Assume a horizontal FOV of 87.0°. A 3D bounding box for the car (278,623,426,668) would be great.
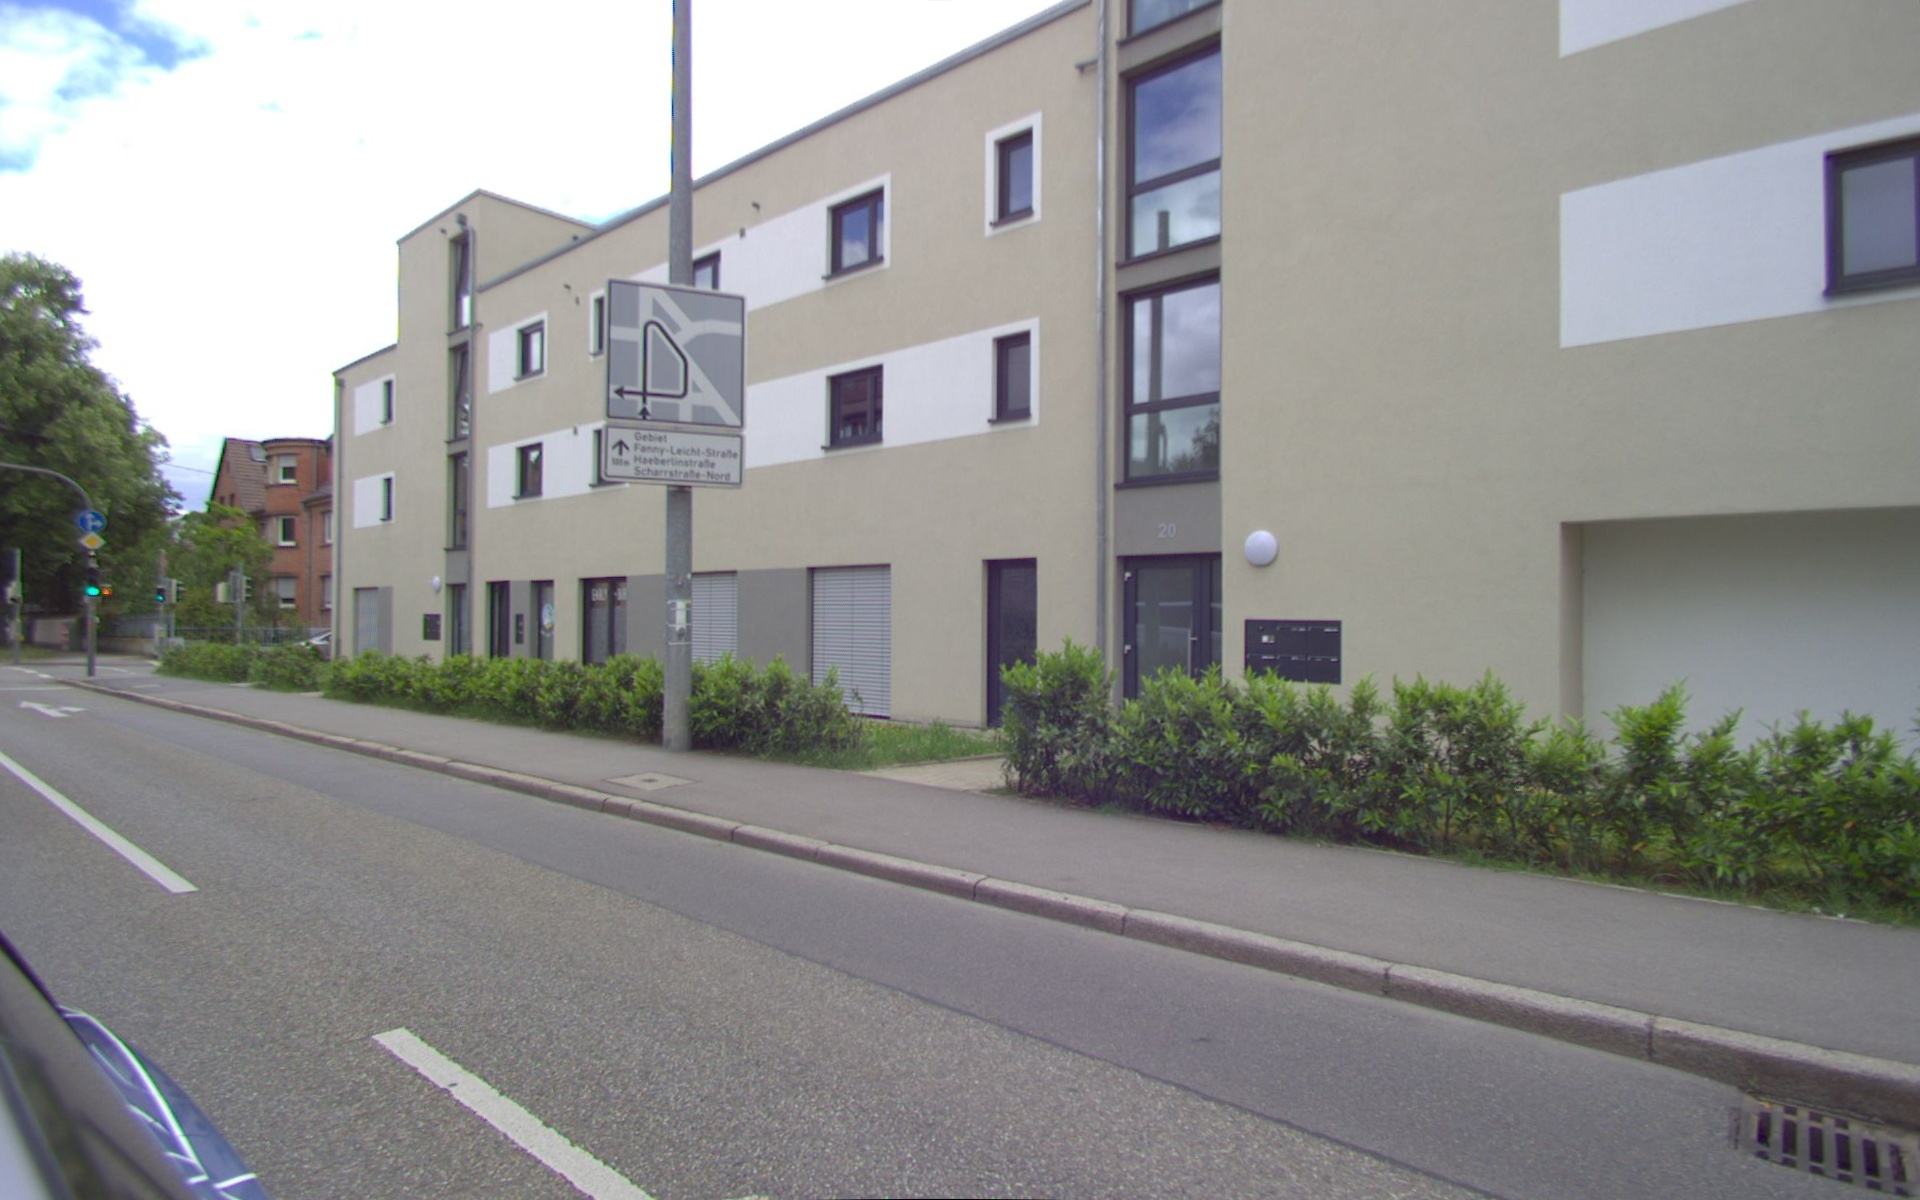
[{"bbox_3d":[-24.753,1.817,41.352,2.171,1.698,4.756,-1,-2,36],"label":"car"}]
